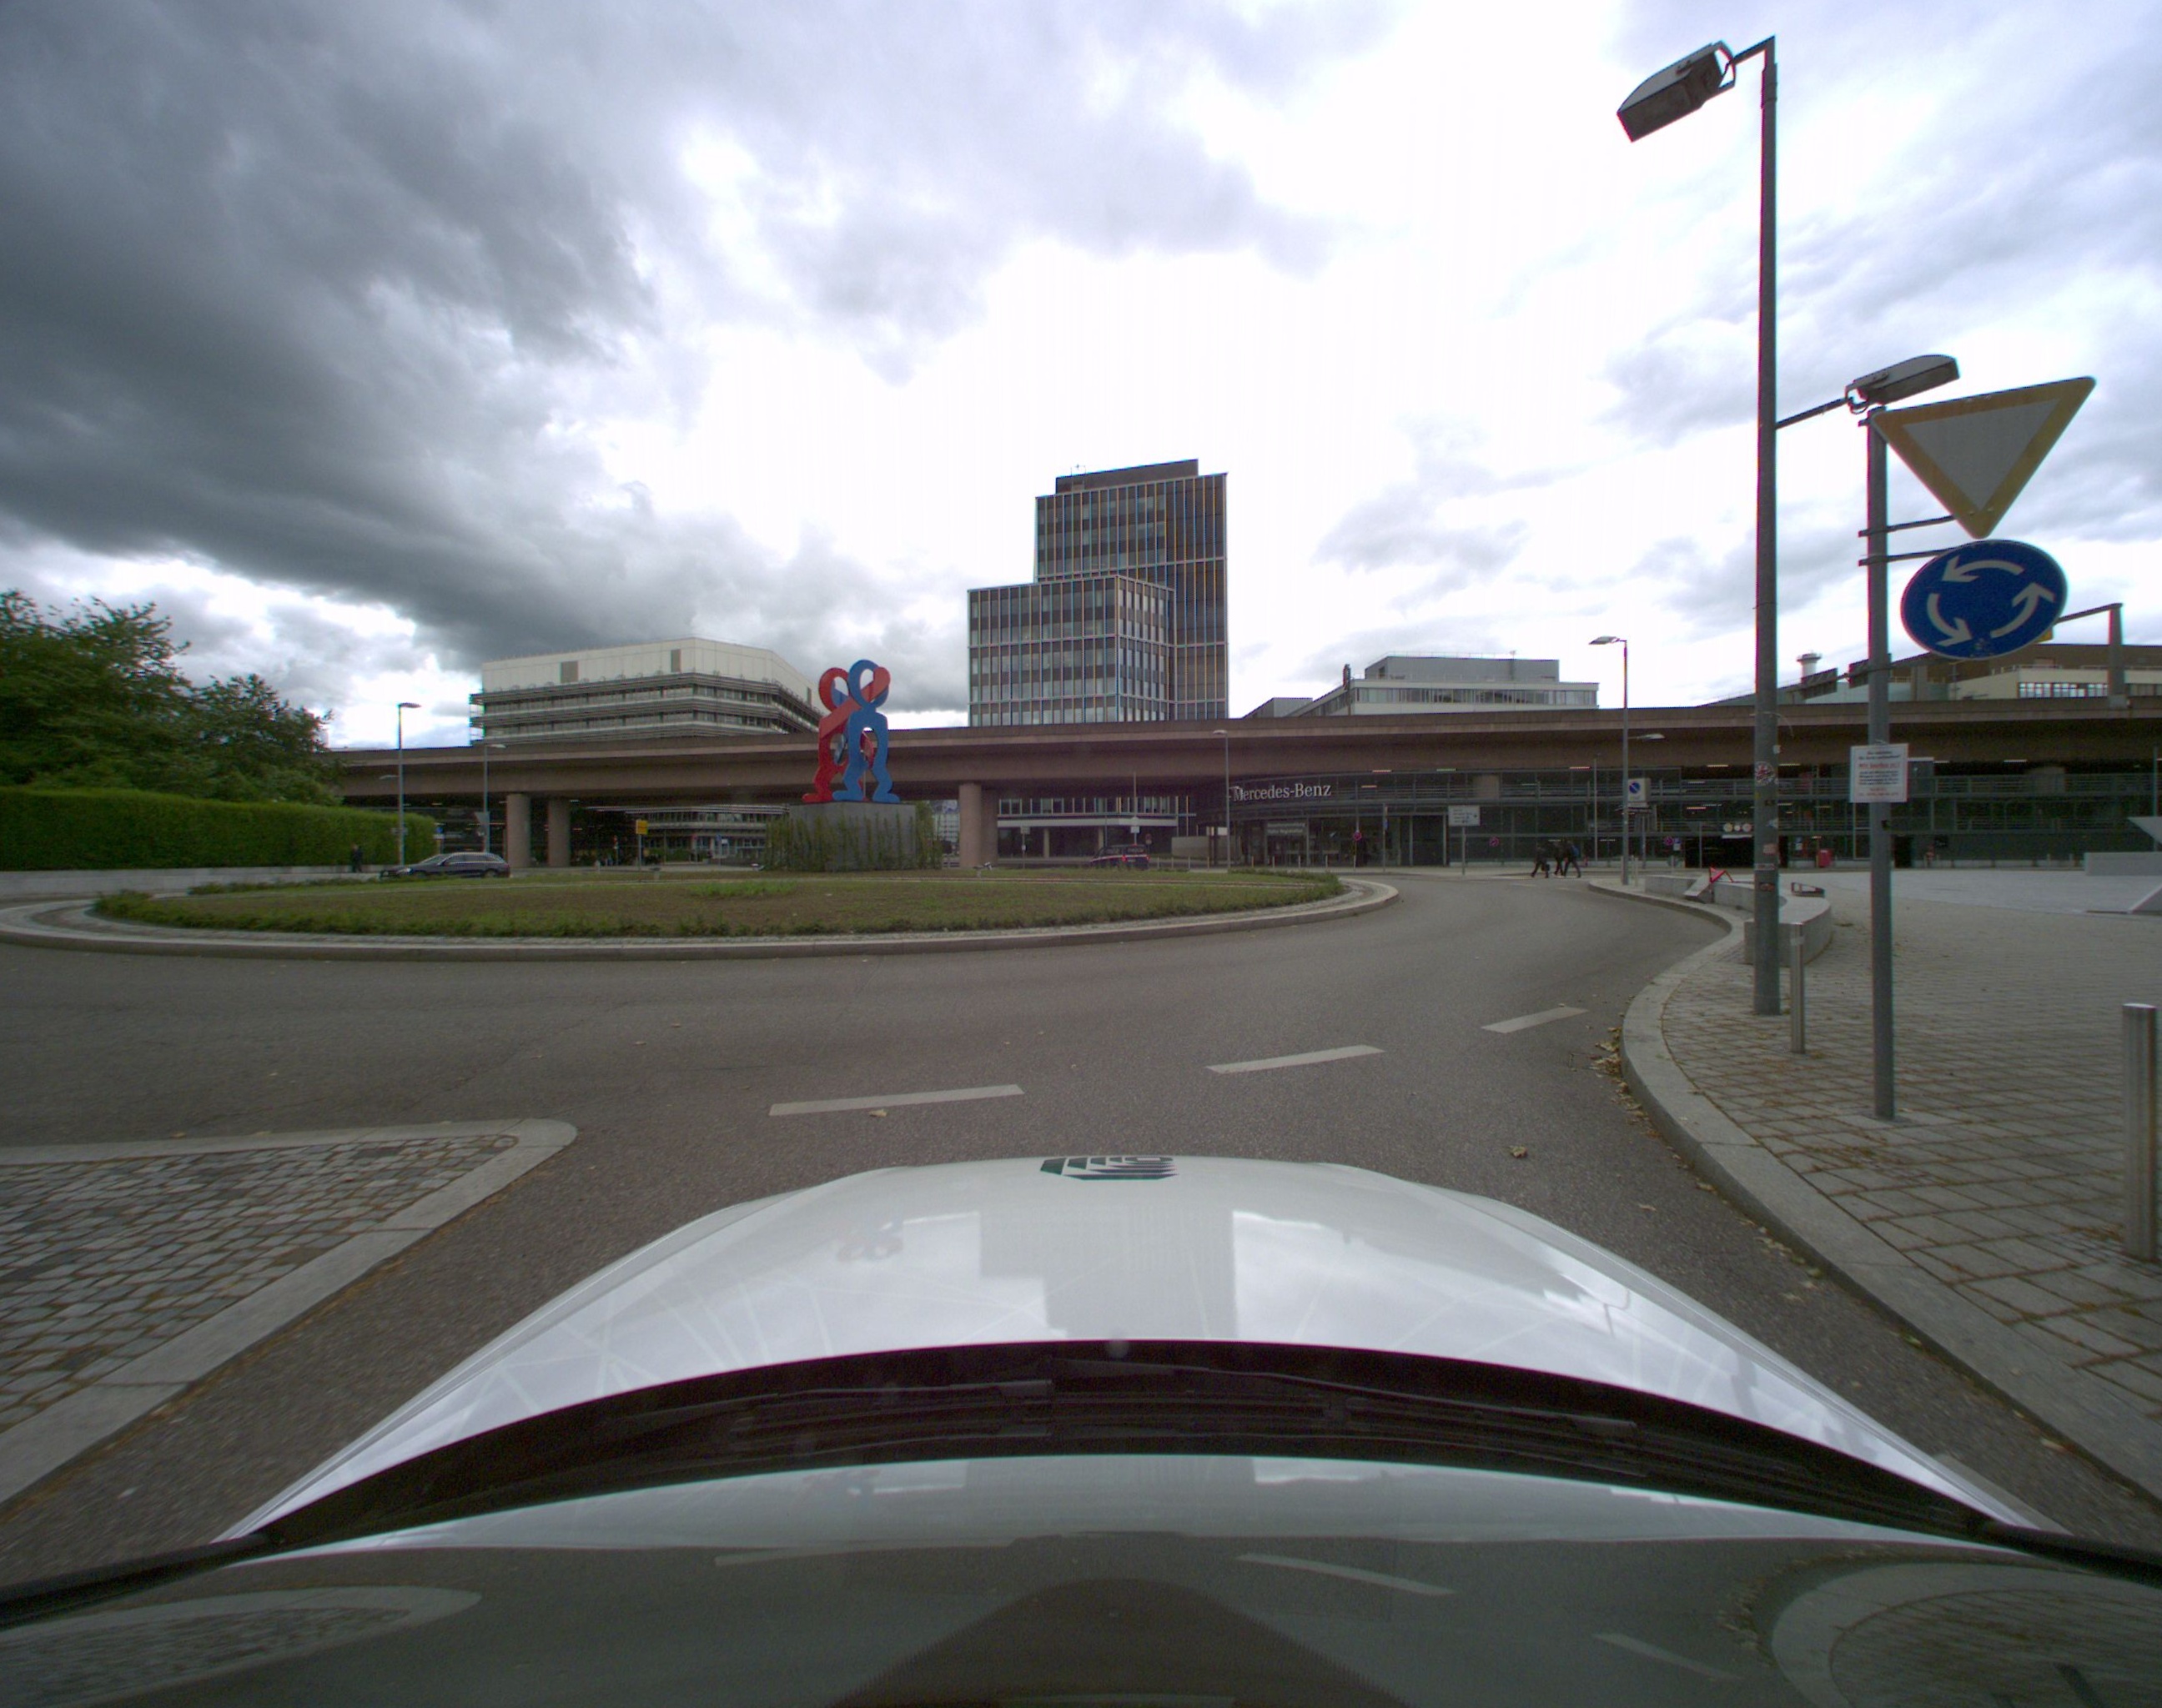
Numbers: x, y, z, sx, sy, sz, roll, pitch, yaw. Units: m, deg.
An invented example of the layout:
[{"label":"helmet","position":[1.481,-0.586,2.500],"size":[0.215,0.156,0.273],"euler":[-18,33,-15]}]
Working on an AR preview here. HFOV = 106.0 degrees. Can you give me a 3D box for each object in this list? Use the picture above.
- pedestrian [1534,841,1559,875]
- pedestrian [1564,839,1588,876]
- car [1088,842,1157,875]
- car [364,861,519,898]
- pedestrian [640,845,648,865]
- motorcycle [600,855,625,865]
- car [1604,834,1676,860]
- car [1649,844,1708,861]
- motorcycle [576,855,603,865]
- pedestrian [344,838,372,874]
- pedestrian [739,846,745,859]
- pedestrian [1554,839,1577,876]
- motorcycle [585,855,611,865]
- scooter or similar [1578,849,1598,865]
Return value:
[{"label":"pedestrian","position":[21.880,0.202,38.286],"size":[0.827,1.570,0.690],"euler":[0,0,2]},{"label":"pedestrian","position":[23.710,0.159,39.027],"size":[0.824,1.740,0.693],"euler":[0,0,15]},{"label":"car","position":[2.530,0.271,51.307],"size":[2.288,2.013,4.742],"euler":[0,0,-27]},{"label":"car","position":[-28.004,1.076,35.863],"size":[1.975,1.460,4.964],"euler":[0,0,28]},{"label":"pedestrian","position":[-43.053,0.099,80.145],"size":[0.590,2.014,0.595],"euler":[0,-1,-19]},{"label":"motorcycle","position":[-55.940,0.717,97.243],"size":[2.634,1.112,1.043],"euler":[0,0,13]},{"label":"car","position":[41.879,-0.520,61.108],"size":[3.964,1.903,2.005],"euler":[0,0,8]},{"label":"car","position":[54.921,-0.136,74.943],"size":[3.964,1.574,2.005],"euler":[0,0,8]},{"label":"motorcycle","position":[-56.892,0.706,94.313],"size":[2.634,1.112,1.043],"euler":[0,0,13]},{"label":"pedestrian","position":[-41.036,0.113,46.237],"size":[1.046,2.014,0.595],"euler":[0,0,-20]},{"label":"pedestrian","position":[-55.455,-0.268,133.349],"size":[0.775,2.013,0.669],"euler":[0,0,-8]},{"label":"pedestrian","position":[22.932,0.168,38.542],"size":[0.824,1.740,0.693],"euler":[0,0,19]},{"label":"motorcycle","position":[-56.720,0.710,95.602],"size":[2.634,1.112,1.043],"euler":[0,0,13]},{"label":"scooter or similar","position":[36.663,0.224,58.921],"size":[1.224,1.194,0.356],"euler":[0,0,7]}]
